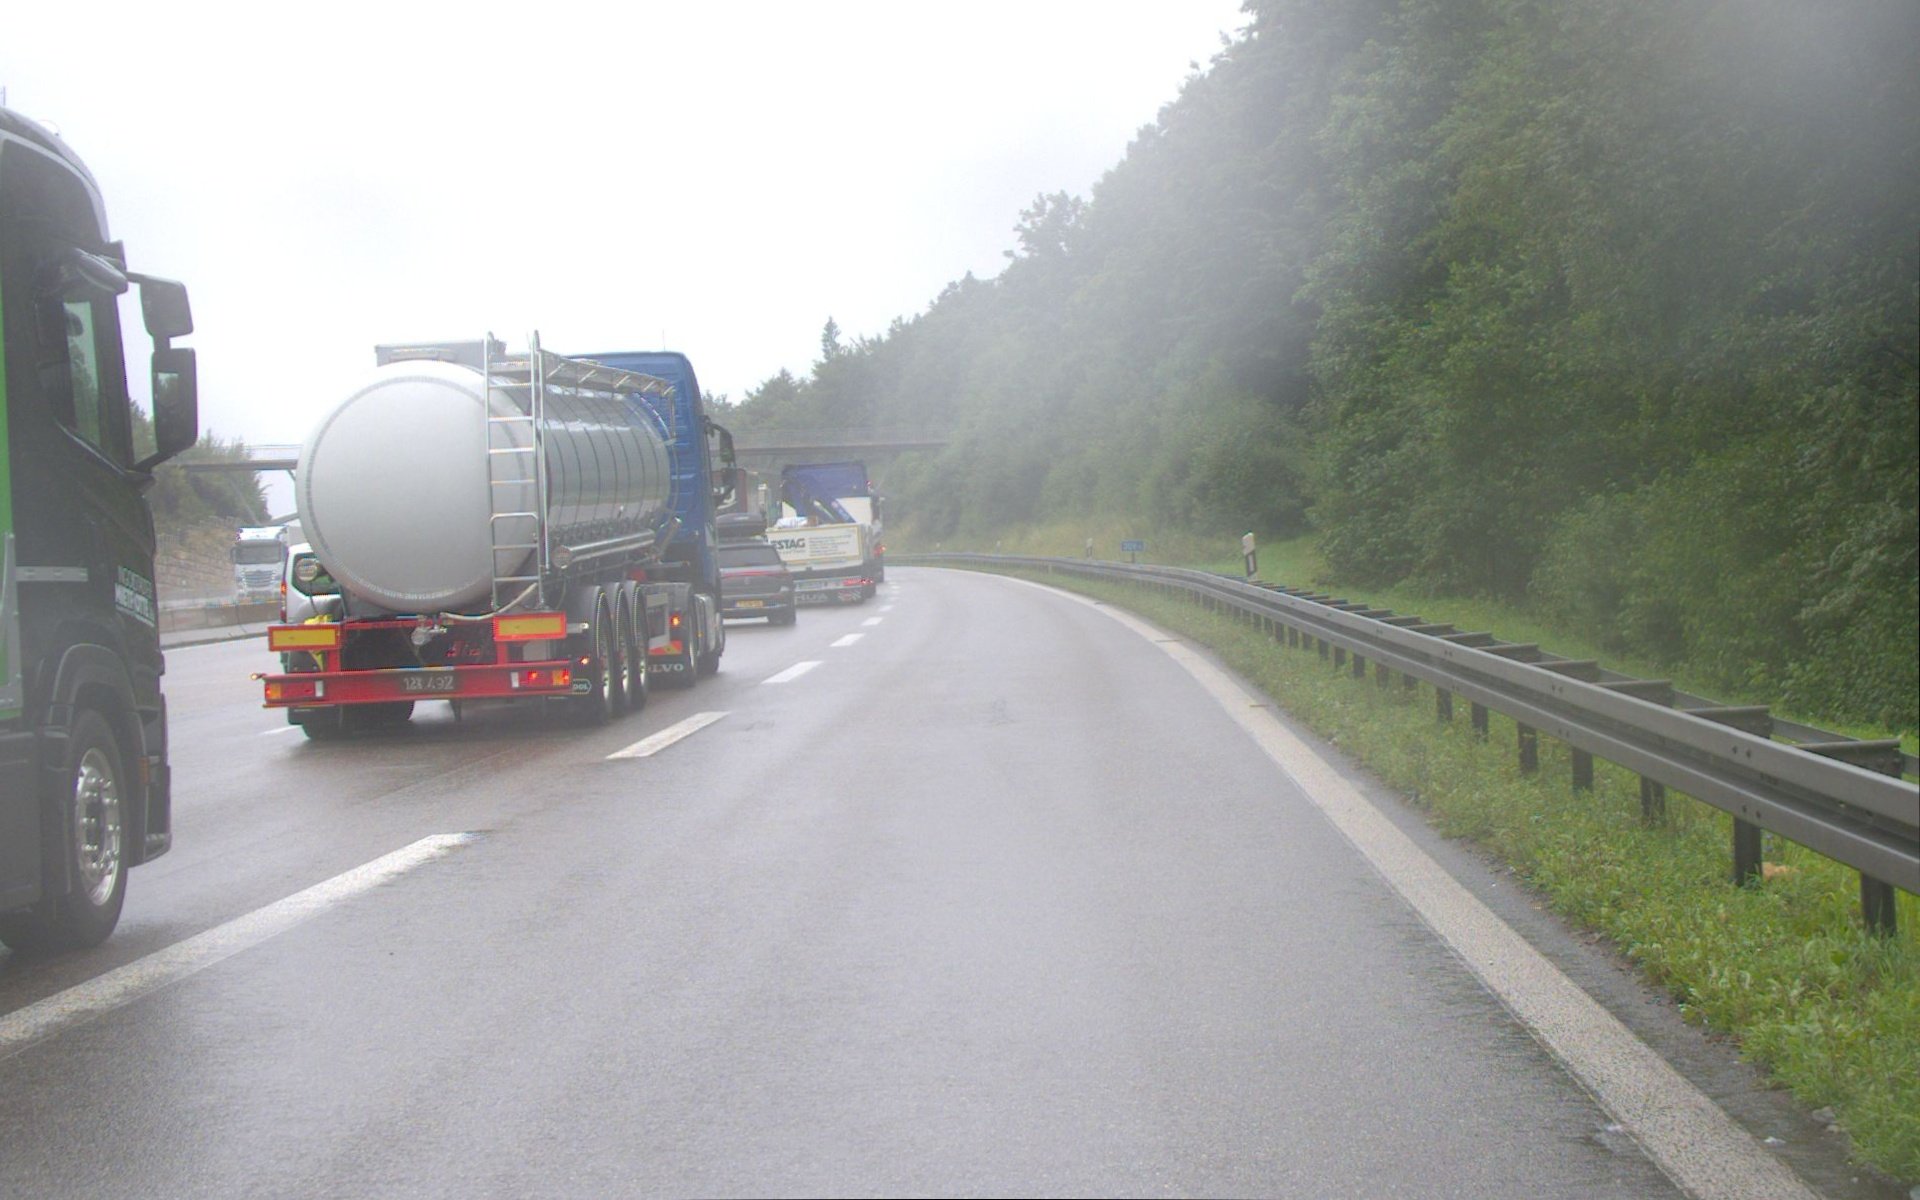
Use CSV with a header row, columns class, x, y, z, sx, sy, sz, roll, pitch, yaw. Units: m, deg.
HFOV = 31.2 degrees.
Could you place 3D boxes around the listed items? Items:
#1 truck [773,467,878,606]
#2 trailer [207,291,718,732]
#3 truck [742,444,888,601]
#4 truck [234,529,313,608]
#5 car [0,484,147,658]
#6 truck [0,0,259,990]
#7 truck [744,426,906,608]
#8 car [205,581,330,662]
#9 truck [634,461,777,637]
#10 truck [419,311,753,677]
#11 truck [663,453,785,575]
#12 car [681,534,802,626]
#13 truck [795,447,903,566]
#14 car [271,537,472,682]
class,x,y,z,sx,sy,sz,roll,pitch,yaw
truck,-5.827,-2.671,150.223,4.336,5.744,9.731,1,-1,-2
trailer,-4.190,-0.790,31.516,2.873,3.277,10.078,-2,1,1
truck,-4.194,-2.175,102.121,3.507,4.253,10.602,1,-1,2
truck,-35.800,-1.683,179.469,2.450,3.935,7.238,-1,1,1
car,-10.507,-0.309,37.895,1.993,1.792,4.154,-2,1,1
truck,-4.710,-0.422,8.504,2.831,3.576,11.797,-3,1,3
truck,-3.275,-2.042,86.169,3.600,4.091,11.561,-3,1,-1
car,-16.138,0.482,80.269,1.993,1.766,4.135,-2,0,1
truck,-8.320,-1.561,113.776,3.754,5.480,10.172,1,-1,1
truck,-4.032,-1.148,38.200,2.877,3.681,5.056,-2,1,2
truck,-8.774,-3.117,128.941,3.576,4.081,10.879,-2,-1,1
car,-4.075,-0.351,64.673,1.993,1.630,4.000,1,-1,0
truck,-4.137,-3.395,128.427,3.754,3.957,11.059,1,-1,-2
car,-7.634,0.091,44.929,1.819,1.761,4.000,-2,1,1
